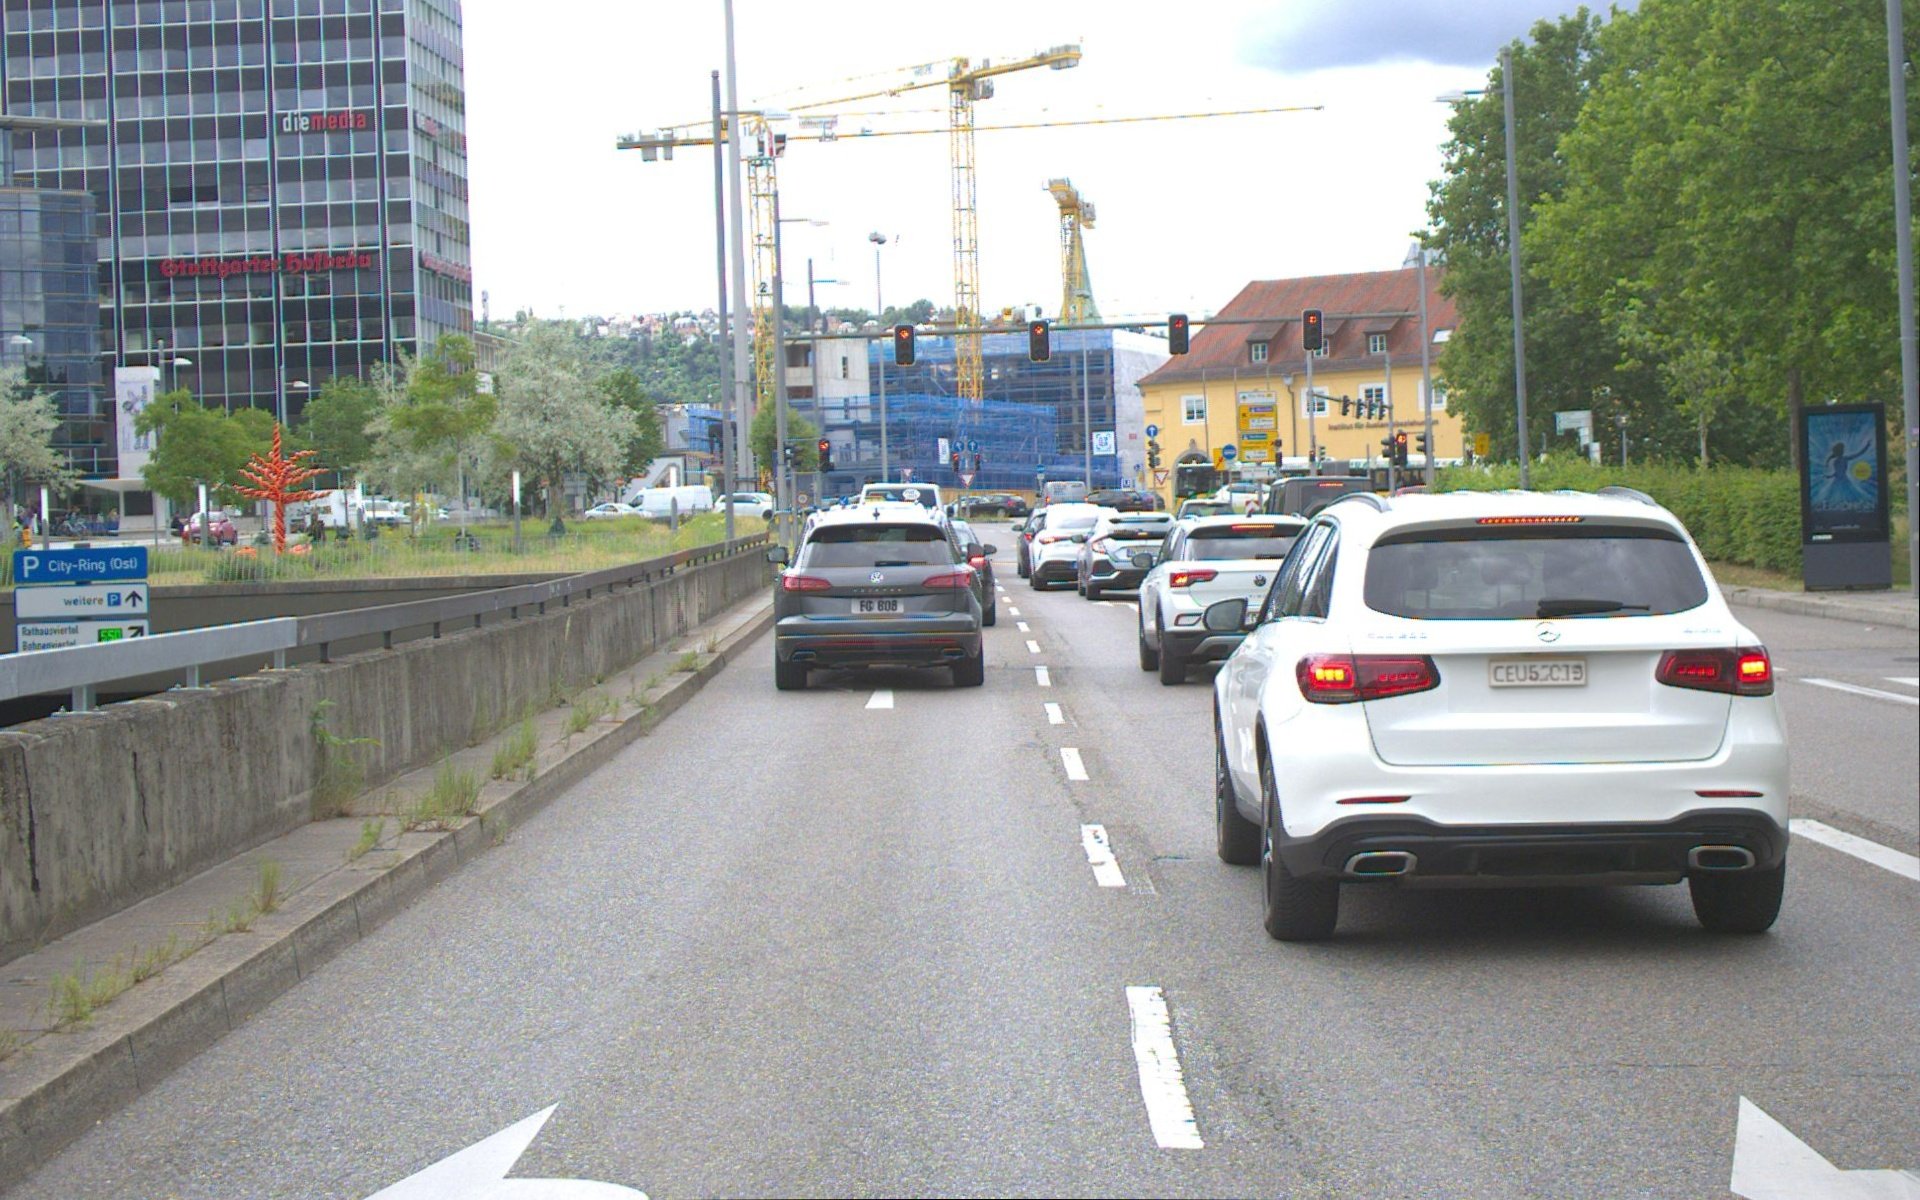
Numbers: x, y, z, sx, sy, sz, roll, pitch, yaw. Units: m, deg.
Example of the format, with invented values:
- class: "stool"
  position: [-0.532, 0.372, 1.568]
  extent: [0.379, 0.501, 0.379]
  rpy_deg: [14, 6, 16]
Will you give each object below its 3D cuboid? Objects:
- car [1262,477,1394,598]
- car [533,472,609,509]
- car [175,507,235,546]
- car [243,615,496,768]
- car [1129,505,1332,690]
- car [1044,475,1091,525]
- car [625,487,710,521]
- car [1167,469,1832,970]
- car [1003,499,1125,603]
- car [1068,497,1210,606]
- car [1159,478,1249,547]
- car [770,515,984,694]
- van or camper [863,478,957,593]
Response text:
- class: "car"
  position: [6.326, -1.089, 59.457]
  extent: [1.788, 2.007, 4.000]
  rpy_deg: [-1, 1, -1]
- class: "car"
  position: [-22.076, -6.215, 194.957]
  extent: [3.986, 2.007, 2.001]
  rpy_deg: [0, 0, -17]
- class: "car"
  position: [-32.644, -3.162, 148.681]
  extent: [1.867, 1.612, 3.481]
  rpy_deg: [0, 0, -1]
- class: "car"
  position: [-5.643, 0.840, 33.274]
  extent: [1.719, 1.288, 4.000]
  rpy_deg: [0, 1, 1]
- class: "car"
  position: [2.549, -0.081, 33.131]
  extent: [1.672, 1.622, 4.000]
  rpy_deg: [0, 2, 1]
- class: "car"
  position: [4.571, -4.252, 146.716]
  extent: [1.800, 2.007, 4.000]
  rpy_deg: [0, 0, -1]
- class: "car"
  position: [-17.941, -5.876, 210.908]
  extent: [5.283, 2.053, 1.869]
  rpy_deg: [1, 0, 36]
- class: "car"
  position: [1.938, 0.393, 13.579]
  extent: [1.940, 1.678, 4.000]
  rpy_deg: [0, 0, -1]
- class: "car"
  position: [1.816, -0.852, 61.133]
  extent: [1.993, 1.774, 4.000]
  rpy_deg: [0, 0, -1]
- class: "car"
  position: [2.789, -0.747, 54.307]
  extent: [1.993, 1.656, 4.000]
  rpy_deg: [0, 0, -1]
- class: "car"
  position: [5.745, -2.046, 81.324]
  extent: [1.719, 1.579, 4.000]
  rpy_deg: [0, 1, -2]
- class: "car"
  position: [-0.776, -0.003, 33.281]
  extent: [1.922, 1.596, 4.000]
  rpy_deg: [-1, 1, -1]
- class: "van or camper"
  position: [-1.063, -1.351, 73.699]
  extent: [1.922, 2.312, 4.000]
  rpy_deg: [-1, -1, -1]
